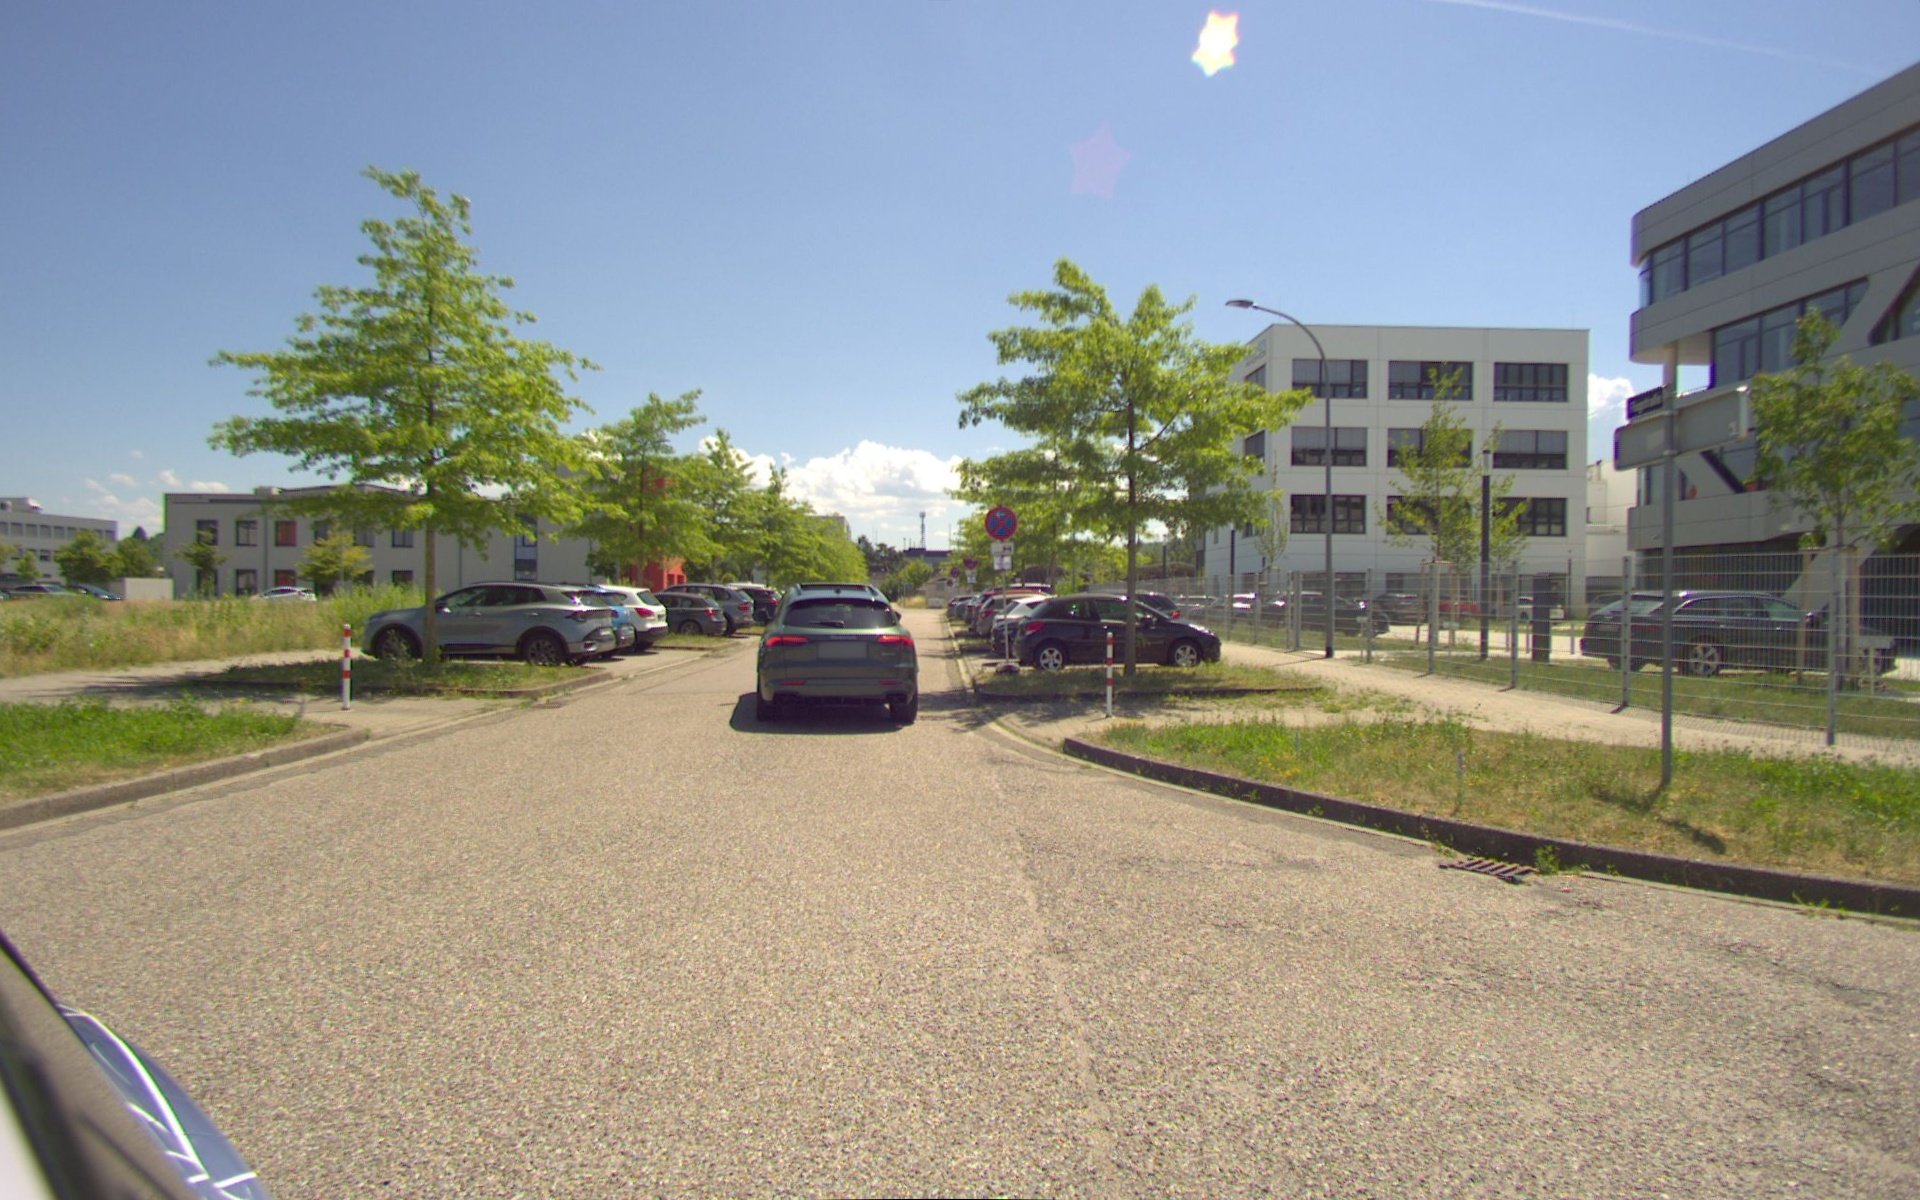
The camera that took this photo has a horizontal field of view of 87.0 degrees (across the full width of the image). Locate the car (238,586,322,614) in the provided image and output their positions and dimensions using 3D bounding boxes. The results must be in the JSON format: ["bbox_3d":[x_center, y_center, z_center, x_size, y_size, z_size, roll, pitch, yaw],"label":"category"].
[{"bbox_3d":[-43.204,0.006,64.375,3.941,1.763,2.001,0,0,-3],"label":"car"}]

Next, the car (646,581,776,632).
[{"bbox_3d":[-8.778,0.207,35.882,4.145,1.710,1.958,1,1,0],"label":"car"}]

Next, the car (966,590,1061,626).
[{"bbox_3d":[2.345,0.337,45.188,4.056,1.487,1.612,-1,0,-2],"label":"car"}]

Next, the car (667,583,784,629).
[{"bbox_3d":[-9.140,0.215,39.627,4.145,1.710,1.958,1,1,0],"label":"car"}]

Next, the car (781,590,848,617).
[{"bbox_3d":[-9.648,0.216,67.302,4.145,1.710,1.958,1,1,0],"label":"car"}]

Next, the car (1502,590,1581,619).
[{"bbox_3d":[31.557,0.246,55.044,1.750,1.523,4.108,0,0,-3],"label":"car"}]

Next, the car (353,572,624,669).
[{"bbox_3d":[-8.830,0.355,19.219,4.247,1.710,1.958,1,1,0],"label":"car"}]

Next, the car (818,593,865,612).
[{"bbox_3d":[-10.965,0.208,93.596,4.145,1.710,1.958,1,1,0],"label":"car"}]

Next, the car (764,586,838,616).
[{"bbox_3d":[-9.443,0.059,60.396,4.145,1.710,1.958,1,1,0],"label":"car"}]

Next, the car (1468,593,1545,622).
[{"bbox_3d":[29.572,0.399,54.880,1.750,1.523,4.108,0,0,-3],"label":"car"}]

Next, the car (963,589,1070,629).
[{"bbox_3d":[2.192,0.341,39.996,4.056,1.487,1.612,-1,0,-2],"label":"car"}]

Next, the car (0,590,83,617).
[{"bbox_3d":[-60.328,0.231,66.302,3.940,1.763,2.002,0,0,-4],"label":"car"}]

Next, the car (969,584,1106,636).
[{"bbox_3d":[2.345,0.302,31.309,4.056,1.487,1.612,-1,0,-2],"label":"car"}]

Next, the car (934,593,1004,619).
[{"bbox_3d":[0.503,0.356,60.609,4.056,1.487,1.612,-1,0,-2],"label":"car"}]

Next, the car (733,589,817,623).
[{"bbox_3d":[-9.831,0.313,54.018,4.145,1.710,1.958,1,1,0],"label":"car"}]

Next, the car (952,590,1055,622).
[{"bbox_3d":[2.143,0.297,51.273,5.040,1.487,2.217,-1,0,-2],"label":"car"}]

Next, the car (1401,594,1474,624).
[{"bbox_3d":[25.333,0.461,53.870,1.750,1.523,4.108,0,0,-3],"label":"car"}]

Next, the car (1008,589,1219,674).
[{"bbox_3d":[2.848,0.577,19.300,3.746,1.487,1.611,-1,0,1],"label":"car"}]

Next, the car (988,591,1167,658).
[{"bbox_3d":[2.766,0.562,24.402,4.056,1.487,1.612,-1,0,-2],"label":"car"}]

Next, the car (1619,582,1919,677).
[{"bbox_3d":[13.787,0.484,17.176,4.045,1.523,1.777,0,0,-2],"label":"car"}]

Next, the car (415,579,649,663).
[{"bbox_3d":[-9.114,0.420,21.835,4.247,1.710,1.958,1,1,0],"label":"car"}]

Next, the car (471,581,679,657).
[{"bbox_3d":[-9.130,0.427,24.259,4.247,1.710,1.958,1,1,0],"label":"car"}]

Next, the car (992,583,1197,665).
[{"bbox_3d":[2.829,0.498,21.911,4.194,1.633,1.611,-1,0,1],"label":"car"}]

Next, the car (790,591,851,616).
[{"bbox_3d":[-9.920,0.215,72.242,4.145,1.710,1.958,1,1,0],"label":"car"}]

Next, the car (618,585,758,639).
[{"bbox_3d":[-8.941,0.363,33.517,4.145,1.710,1.958,1,1,0],"label":"car"}]

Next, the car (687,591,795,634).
[{"bbox_3d":[-9.185,0.497,42.605,4.145,1.710,1.958,1,1,0],"label":"car"}]

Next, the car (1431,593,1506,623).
[{"bbox_3d":[27.197,0.419,54.314,1.750,1.523,4.108,0,0,-3],"label":"car"}]

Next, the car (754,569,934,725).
[{"bbox_3d":[-1.738,0.548,13.707,1.967,1.706,4.648,2,0,-11],"label":"car"}]

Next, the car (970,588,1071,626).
[{"bbox_3d":[2.490,0.275,42.545,4.056,1.487,1.612,-1,0,-2],"label":"car"}]

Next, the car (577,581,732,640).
[{"bbox_3d":[-9.270,0.301,30.955,4.145,1.710,1.958,1,1,0],"label":"car"}]

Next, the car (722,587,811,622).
[{"bbox_3d":[-9.769,0.219,51.299,4.145,1.710,1.958,1,1,0],"label":"car"}]

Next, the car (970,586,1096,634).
[{"bbox_3d":[2.405,0.336,34.033,4.056,1.487,1.612,-1,0,-2],"label":"car"}]
